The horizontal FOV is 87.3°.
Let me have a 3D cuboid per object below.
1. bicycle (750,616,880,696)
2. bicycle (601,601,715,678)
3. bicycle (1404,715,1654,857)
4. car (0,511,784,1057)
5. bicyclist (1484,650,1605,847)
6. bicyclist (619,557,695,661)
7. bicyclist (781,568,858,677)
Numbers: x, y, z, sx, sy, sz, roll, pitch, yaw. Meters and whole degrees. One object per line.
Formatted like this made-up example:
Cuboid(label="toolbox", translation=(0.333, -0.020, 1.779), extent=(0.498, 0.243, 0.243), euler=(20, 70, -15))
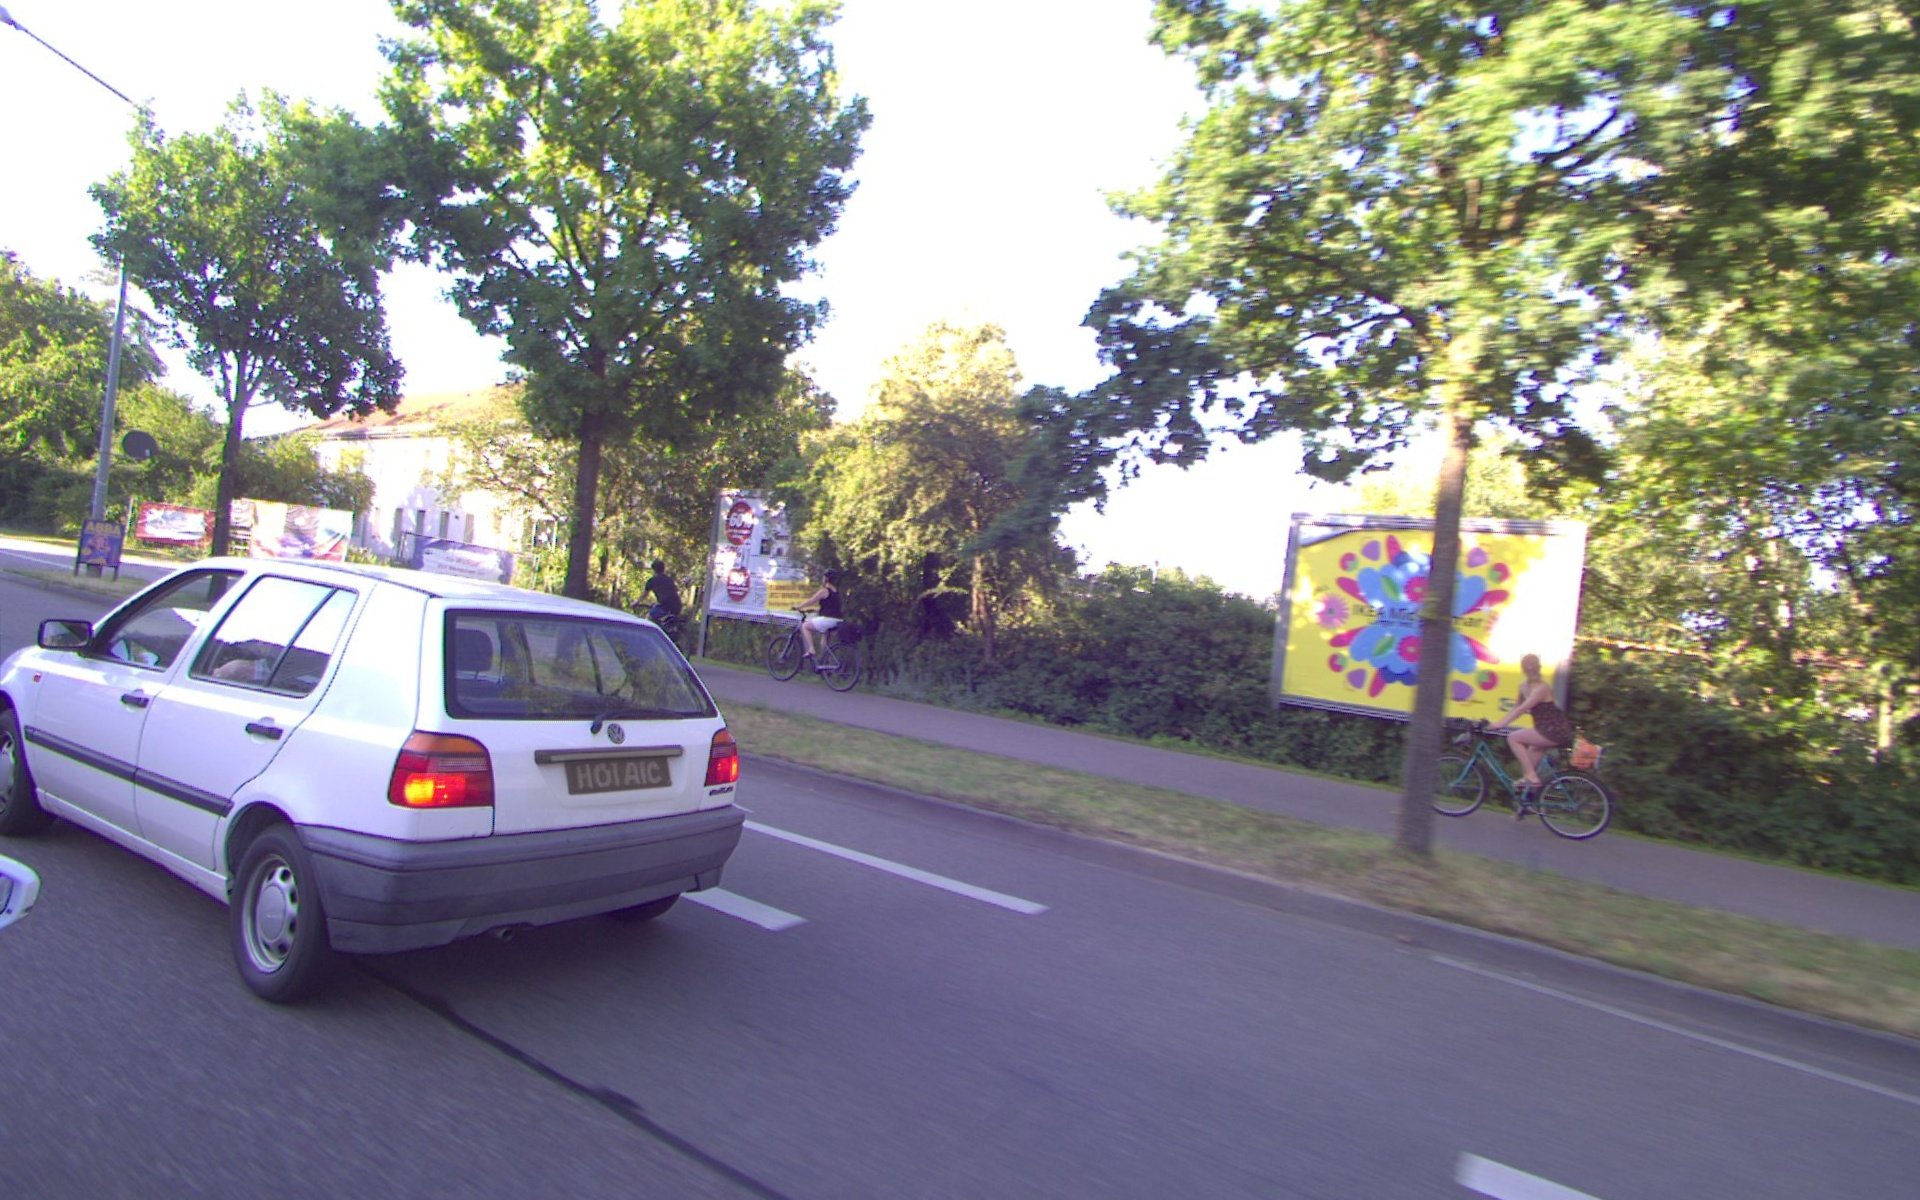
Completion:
Cuboid(label="bicycle", translation=(-2.284, 0.865, 15.735), extent=(2.025, 0.985, 0.617), euler=(6, 0, 34))
Cuboid(label="bicycle", translation=(-4.766, 0.611, 15.826), extent=(1.792, 0.985, 0.617), euler=(6, 0, 34))
Cuboid(label="bicycle", translation=(5.608, 1.792, 10.010), extent=(2.025, 0.985, 0.617), euler=(6, 0, 34))
Cuboid(label="car", translation=(-2.923, 0.497, 4.541), extent=(3.971, 1.414, 1.615), euler=(6, -3, 31))
Cuboid(label="bicyclist", translation=(5.769, 1.430, 9.924), extent=(0.834, 1.754, 0.604), euler=(7, 0, 33))
Cuboid(label="bicyclist", translation=(-4.778, 0.143, 15.870), extent=(0.834, 1.520, 0.613), euler=(7, 0, 33))
Cuboid(label="bicyclist", translation=(-2.198, 0.350, 15.721), extent=(0.834, 1.597, 0.604), euler=(7, 0, 33))
